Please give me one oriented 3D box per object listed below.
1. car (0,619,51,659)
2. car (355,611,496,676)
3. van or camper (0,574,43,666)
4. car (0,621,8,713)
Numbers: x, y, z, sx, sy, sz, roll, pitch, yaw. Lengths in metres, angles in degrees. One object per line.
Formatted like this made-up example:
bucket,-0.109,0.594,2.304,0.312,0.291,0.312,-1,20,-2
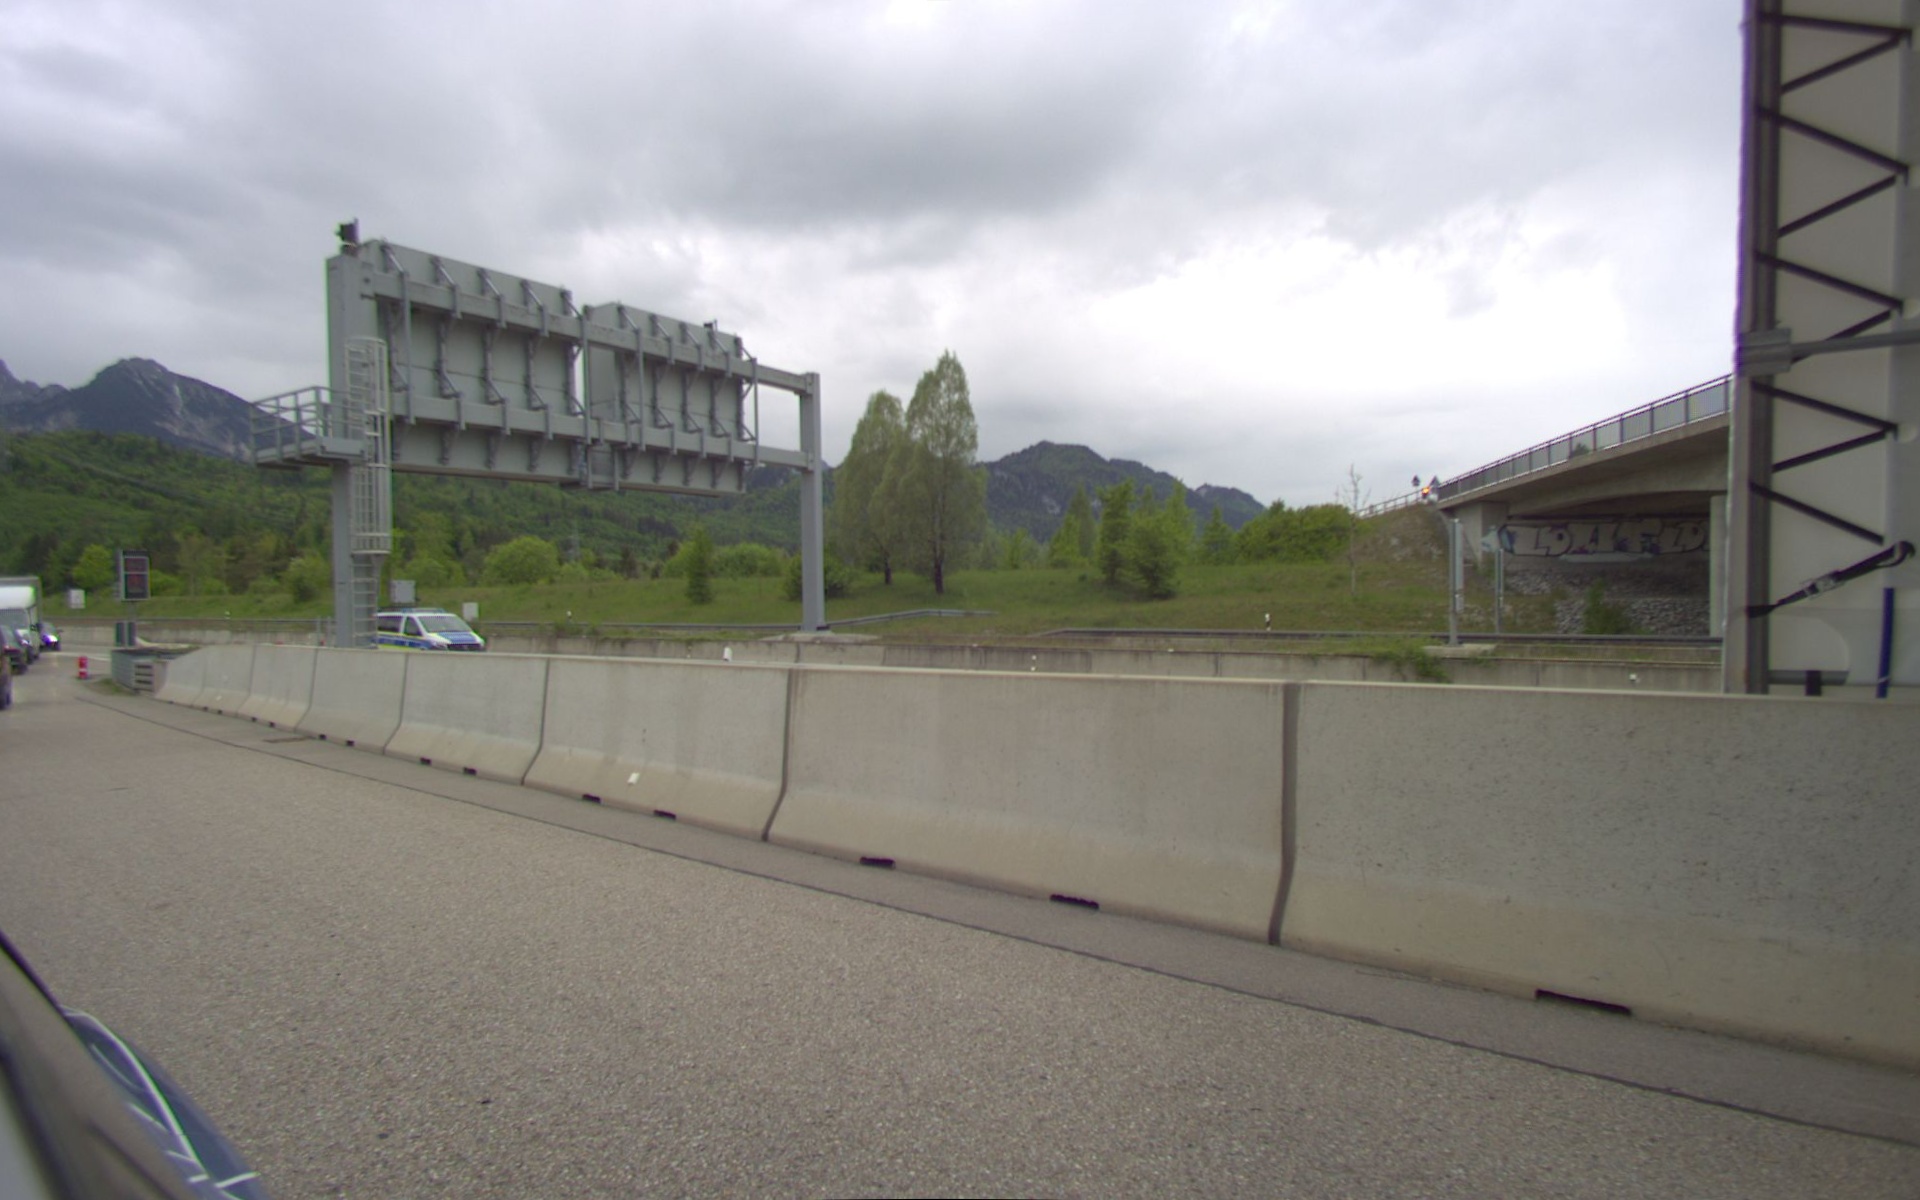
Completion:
car,-45.010,1.844,48.714,1.717,1.778,4.003,-3,1,-44
car,-17.910,1.402,33.839,5.039,2.029,2.081,-1,-1,34
van or camper,-38.295,0.815,40.355,2.544,3.417,7.364,1,-2,-42
car,-19.213,1.274,19.188,1.568,1.684,4.005,1,-2,-42
